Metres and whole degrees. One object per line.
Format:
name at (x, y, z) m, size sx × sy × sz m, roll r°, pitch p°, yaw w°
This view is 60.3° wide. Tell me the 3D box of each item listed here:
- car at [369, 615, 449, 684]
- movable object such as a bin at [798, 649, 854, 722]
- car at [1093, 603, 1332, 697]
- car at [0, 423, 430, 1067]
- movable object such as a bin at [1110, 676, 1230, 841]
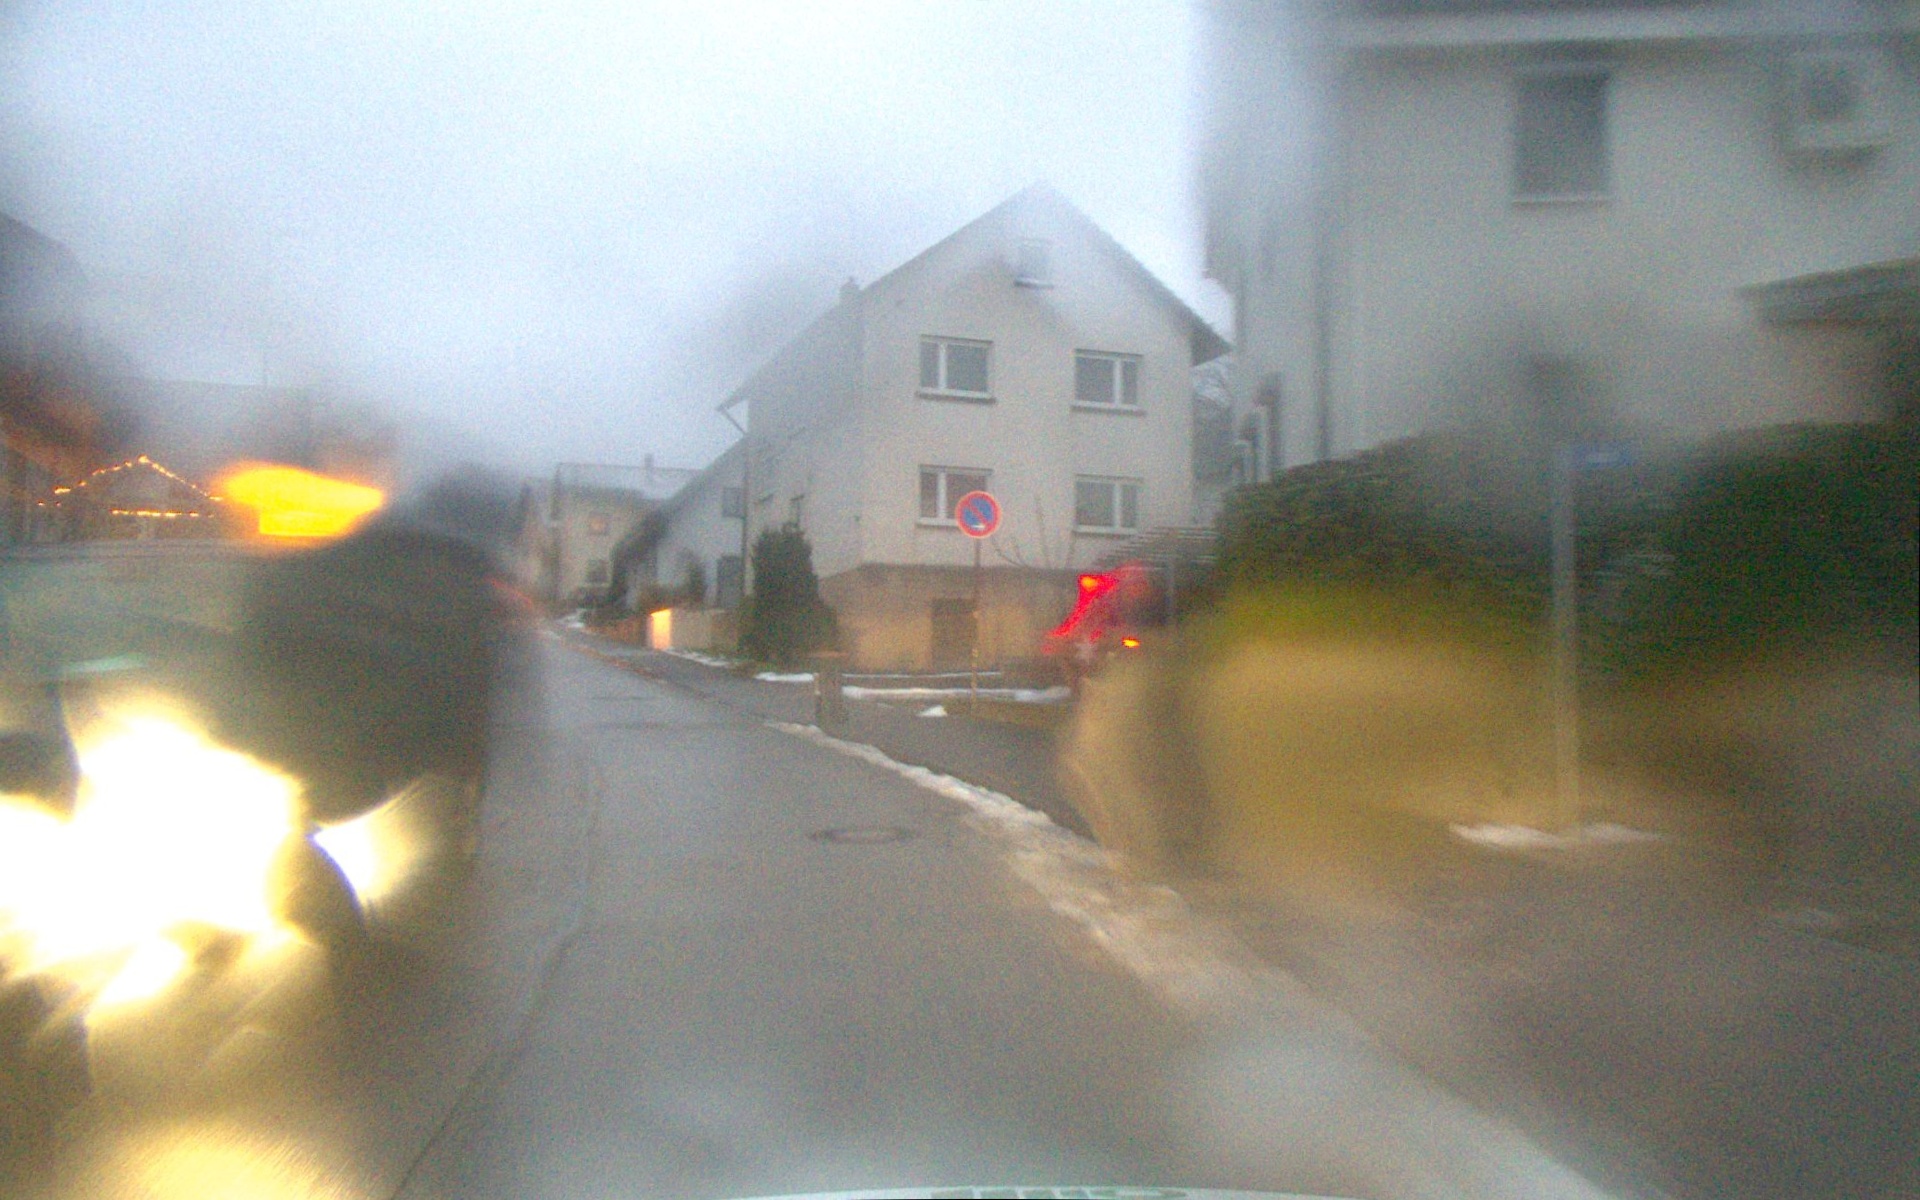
car at (-12.321, 1.078, 37.091) m, size 1.593 × 1.464 × 3.638 m, roll 1°, pitch -1°, yaw -18°
movable object such as a bin at (-1.777, 1.124, 21.887) m, size 0.626 × 0.933 × 0.683 m, roll 2°, pitch -1°, yaw -13°
car at (4.618, 0.891, 30.509) m, size 3.918 × 1.646 × 1.994 m, roll 0°, pitch -1°, yaw -13°
car at (-3.661, 0.489, 7.723) m, size 2.076 × 2.062 × 4.960 m, roll 1°, pitch -1°, yaw -16°
movable object such as a bin at (1.289, 0.962, 10.229) m, size 0.528 × 0.954 × 0.687 m, roll 2°, pitch -1°, yaw -12°
